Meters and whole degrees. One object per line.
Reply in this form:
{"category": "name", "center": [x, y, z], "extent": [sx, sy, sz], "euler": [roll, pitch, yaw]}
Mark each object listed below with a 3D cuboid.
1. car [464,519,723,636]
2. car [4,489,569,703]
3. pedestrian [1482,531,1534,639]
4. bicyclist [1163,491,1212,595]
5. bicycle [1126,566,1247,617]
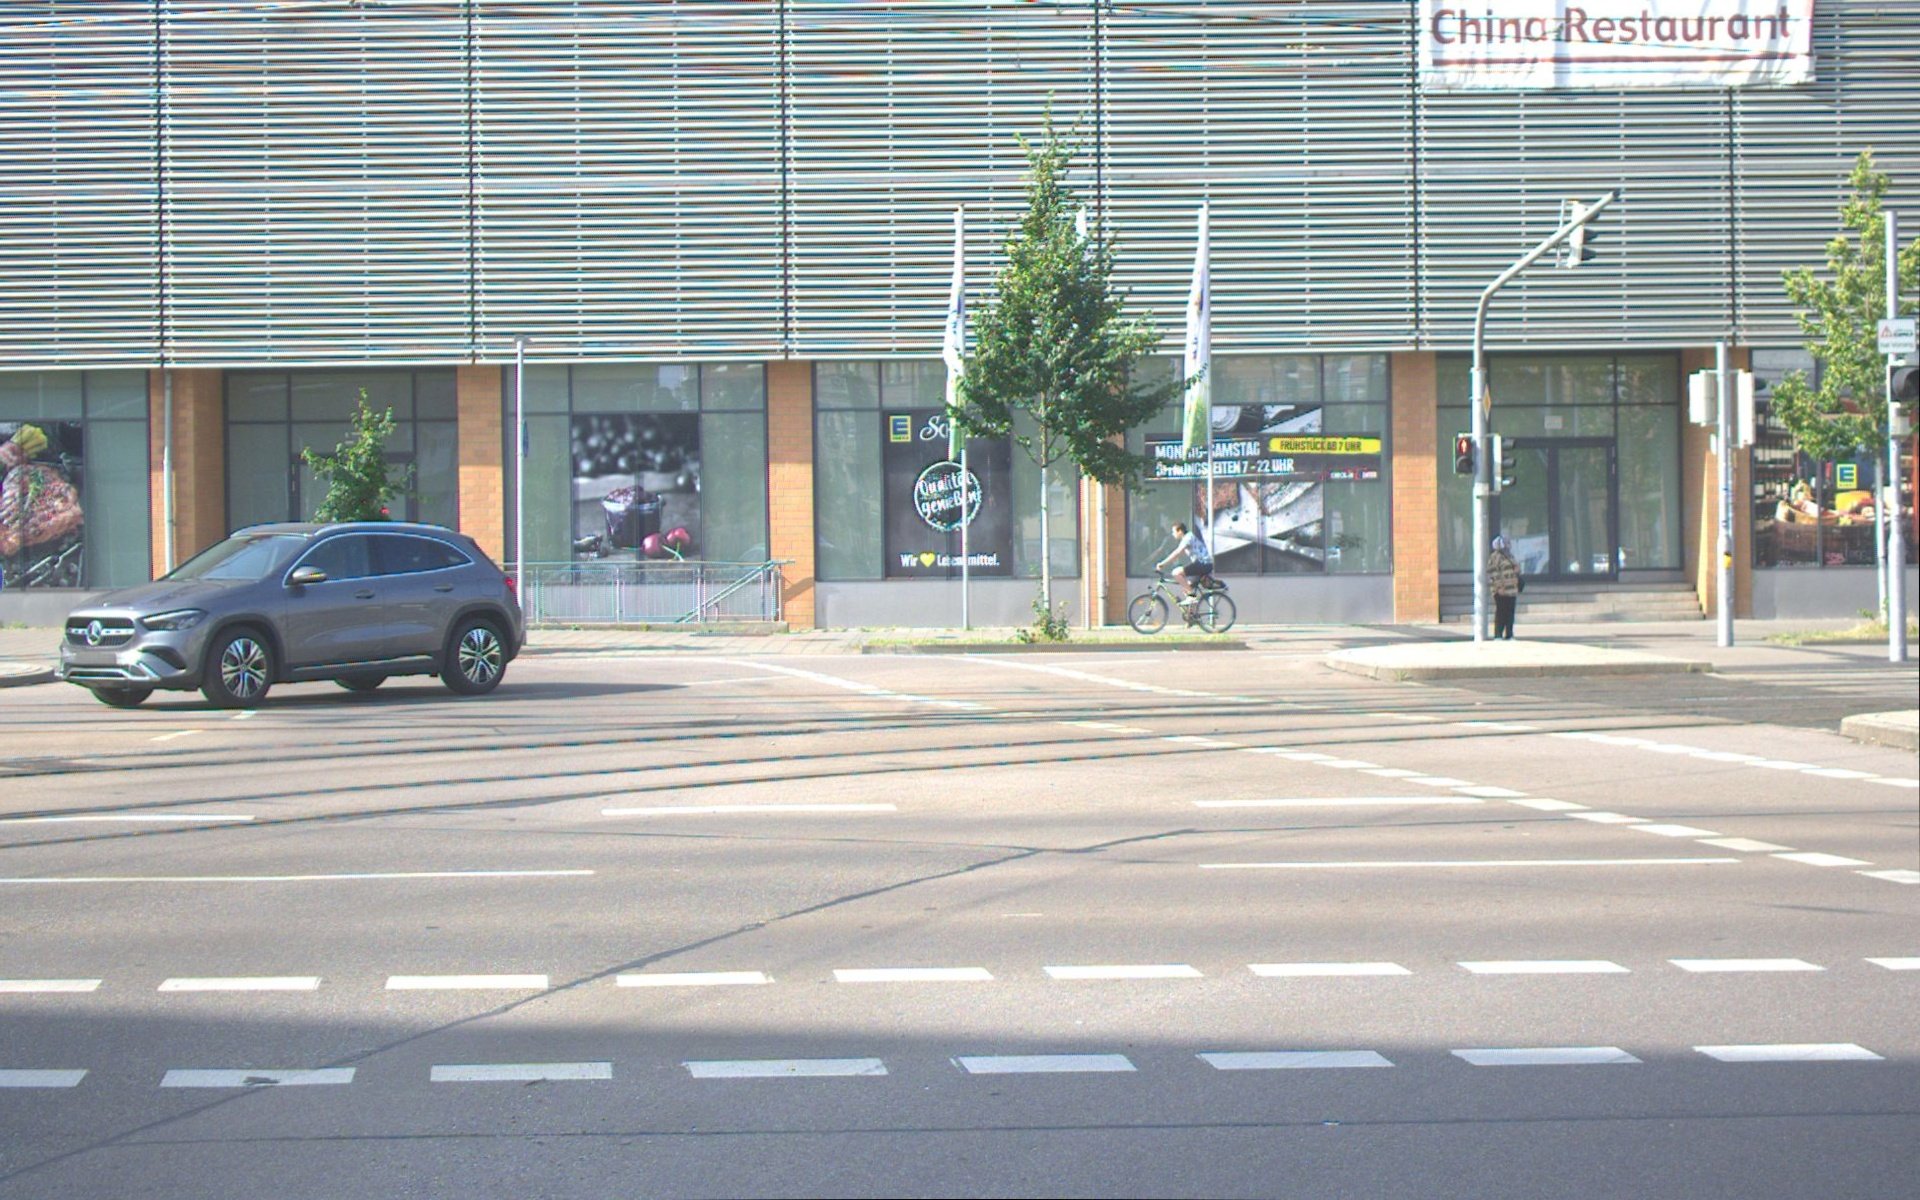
{"category": "car", "center": [-5.058, -0.313, 47.752], "extent": [3.391, 1.554, 1.743], "euler": [1, 0, 0]}
{"category": "car", "center": [-5.983, -0.038, 31.039], "extent": [1.954, 1.777, 4.803], "euler": [1, 0, 41]}
{"category": "pedestrian", "center": [8.054, -0.226, 50.556], "extent": [0.588, 1.574, 0.764], "euler": [-1, 0, -3]}
{"category": "bicyclist", "center": [3.597, -0.903, 54.433], "extent": [0.712, 1.624, 0.569], "euler": [1, 0, -1]}
{"category": "bicycle", "center": [3.578, -0.134, 54.453], "extent": [1.863, 0.777, 0.582], "euler": [1, 0, -1]}
